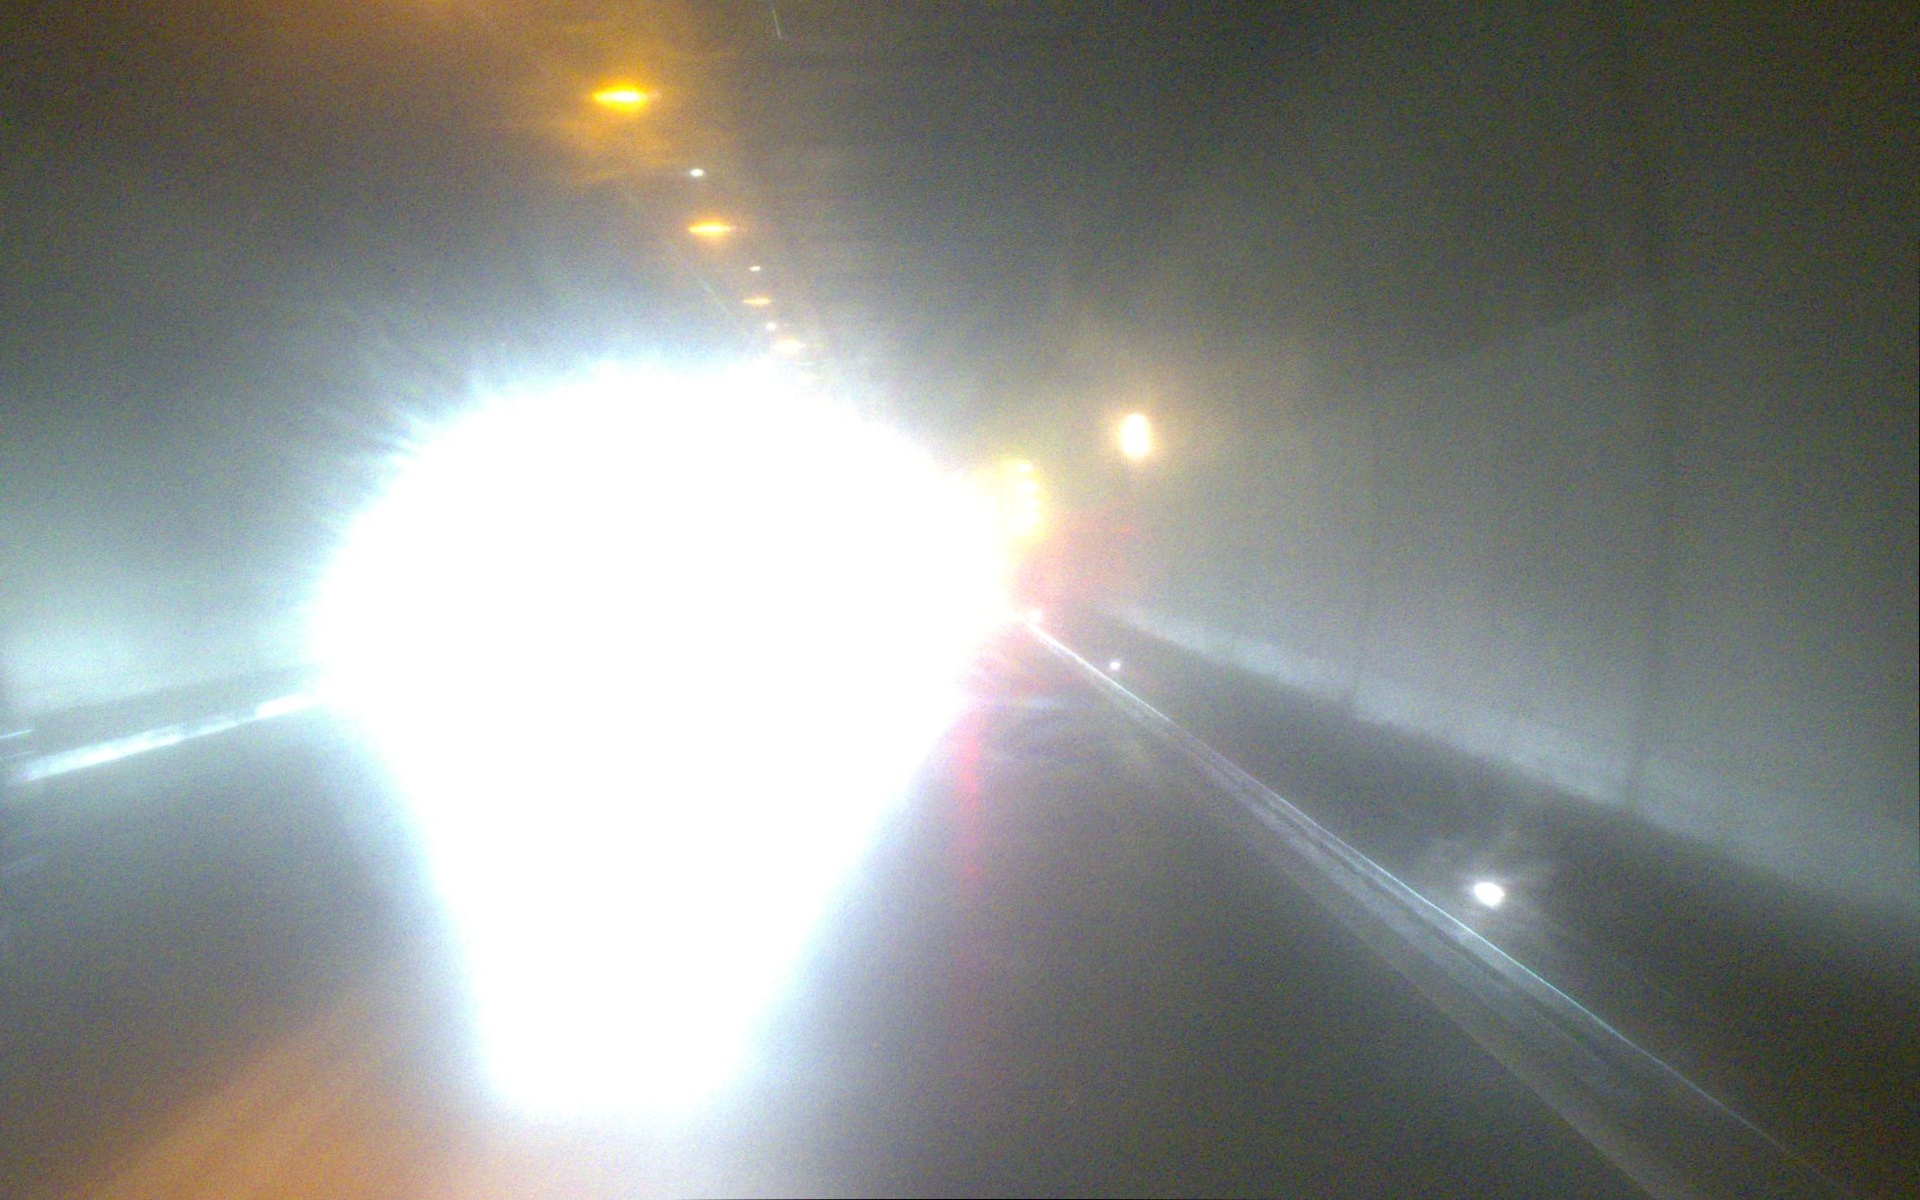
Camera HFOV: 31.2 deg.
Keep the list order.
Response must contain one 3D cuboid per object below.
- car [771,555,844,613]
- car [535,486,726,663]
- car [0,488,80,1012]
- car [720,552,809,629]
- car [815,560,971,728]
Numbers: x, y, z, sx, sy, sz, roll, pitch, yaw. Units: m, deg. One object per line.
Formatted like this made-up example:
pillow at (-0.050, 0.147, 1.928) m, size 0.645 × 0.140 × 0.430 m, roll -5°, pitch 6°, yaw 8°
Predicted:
car at (-4.739, -0.505, 106.466) m, size 1.914 × 1.722 × 4.001 m, roll 1°, pitch 1°, yaw -7°
car at (-3.821, -0.316, 40.649) m, size 1.781 × 1.922 × 5.138 m, roll 1°, pitch 1°, yaw -1°
car at (-3.767, 0.467, 9.469) m, size 1.635 × 1.622 × 4.146 m, roll 1°, pitch 1°, yaw -1°
car at (-4.465, -0.242, 79.007) m, size 1.781 × 1.670 × 4.561 m, roll 1°, pitch 1°, yaw -1°
car at (-0.731, 0.444, 38.721) m, size 1.635 × 1.752 × 4.146 m, roll 1°, pitch 1°, yaw -1°
